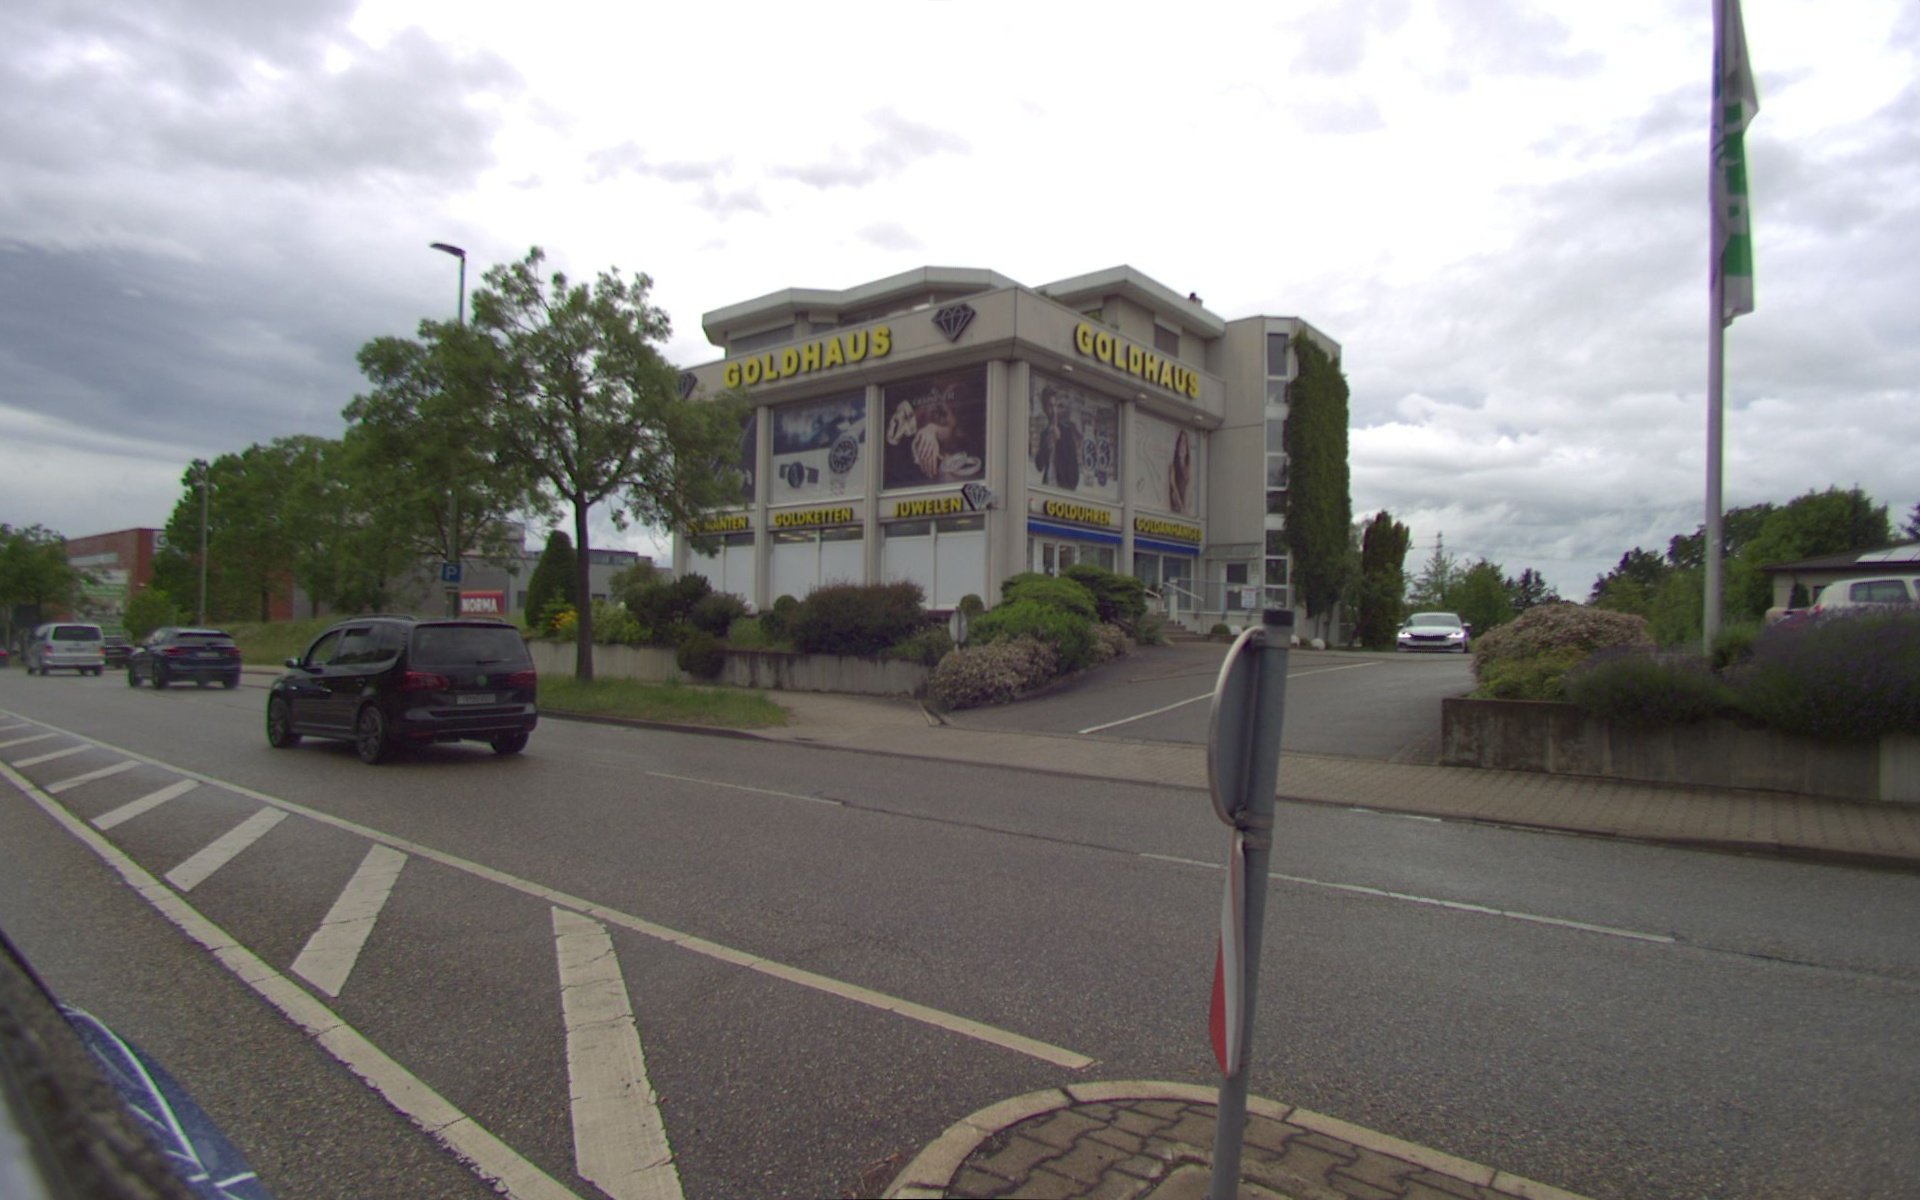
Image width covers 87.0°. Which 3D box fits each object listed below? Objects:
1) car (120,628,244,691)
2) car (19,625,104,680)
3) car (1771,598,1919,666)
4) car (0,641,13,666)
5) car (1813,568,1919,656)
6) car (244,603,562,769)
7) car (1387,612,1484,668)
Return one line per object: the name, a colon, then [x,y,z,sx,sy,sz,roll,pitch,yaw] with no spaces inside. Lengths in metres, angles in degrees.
car: [-21.779,1.634,28.272,4.528,1.623,1.733,-2,-4,40]
car: [-35.234,2.030,39.627,4.895,1.998,1.777,-2,-4,41]
car: [21.509,0.765,23.530,4.047,1.524,1.659,-1,-3,37]
car: [-55.815,3.045,57.848,4.293,1.412,1.776,-2,-4,38]
car: [17.641,0.224,17.772,4.001,1.524,1.656,-2,-4,42]
car: [-6.824,0.948,12.266,4.140,1.690,1.740,-1,-3,36]
car: [14.034,1.150,29.755,1.871,1.524,3.953,-2,-2,36]
